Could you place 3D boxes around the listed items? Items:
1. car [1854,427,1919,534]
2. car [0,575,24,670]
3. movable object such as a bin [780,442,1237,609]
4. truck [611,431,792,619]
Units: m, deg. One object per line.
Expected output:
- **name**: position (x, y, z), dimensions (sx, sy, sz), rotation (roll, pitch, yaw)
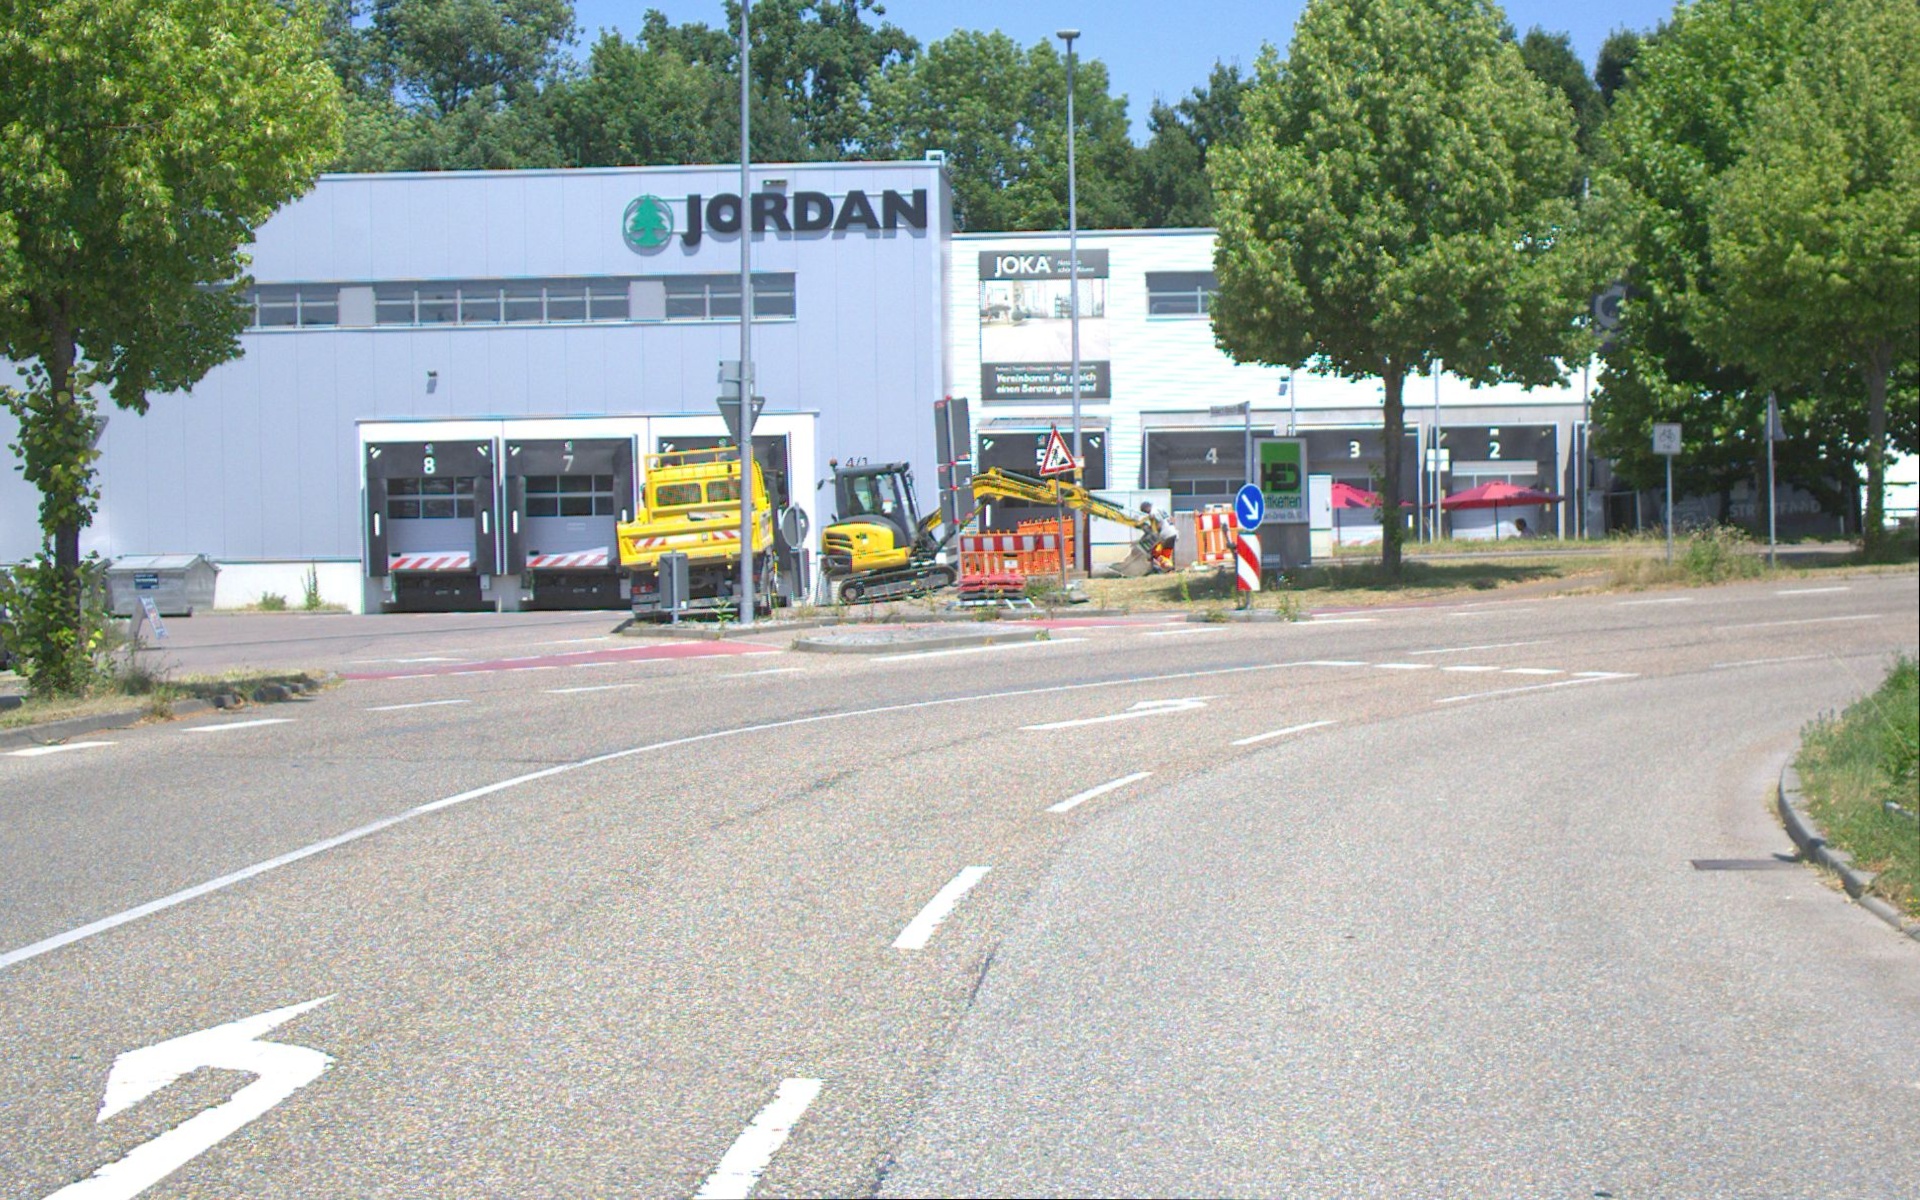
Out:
- **car**: position (21.665, -2.480, 68.564), dimensions (7.173, 2.080, 2.000), rotation (-2, 1, 7)
- **car**: position (-18.066, 0.527, 60.913), dimensions (1.993, 1.546, 4.002), rotation (-3, 5, -3)
- **movable object such as a bin**: position (0.943, -1.354, 61.506), dimensions (7.529, 2.491, 3.665), rotation (-2, 5, 12)
- **truck**: position (-4.661, -1.413, 61.466), dimensions (2.938, 2.875, 5.812), rotation (-3, 5, -5)
